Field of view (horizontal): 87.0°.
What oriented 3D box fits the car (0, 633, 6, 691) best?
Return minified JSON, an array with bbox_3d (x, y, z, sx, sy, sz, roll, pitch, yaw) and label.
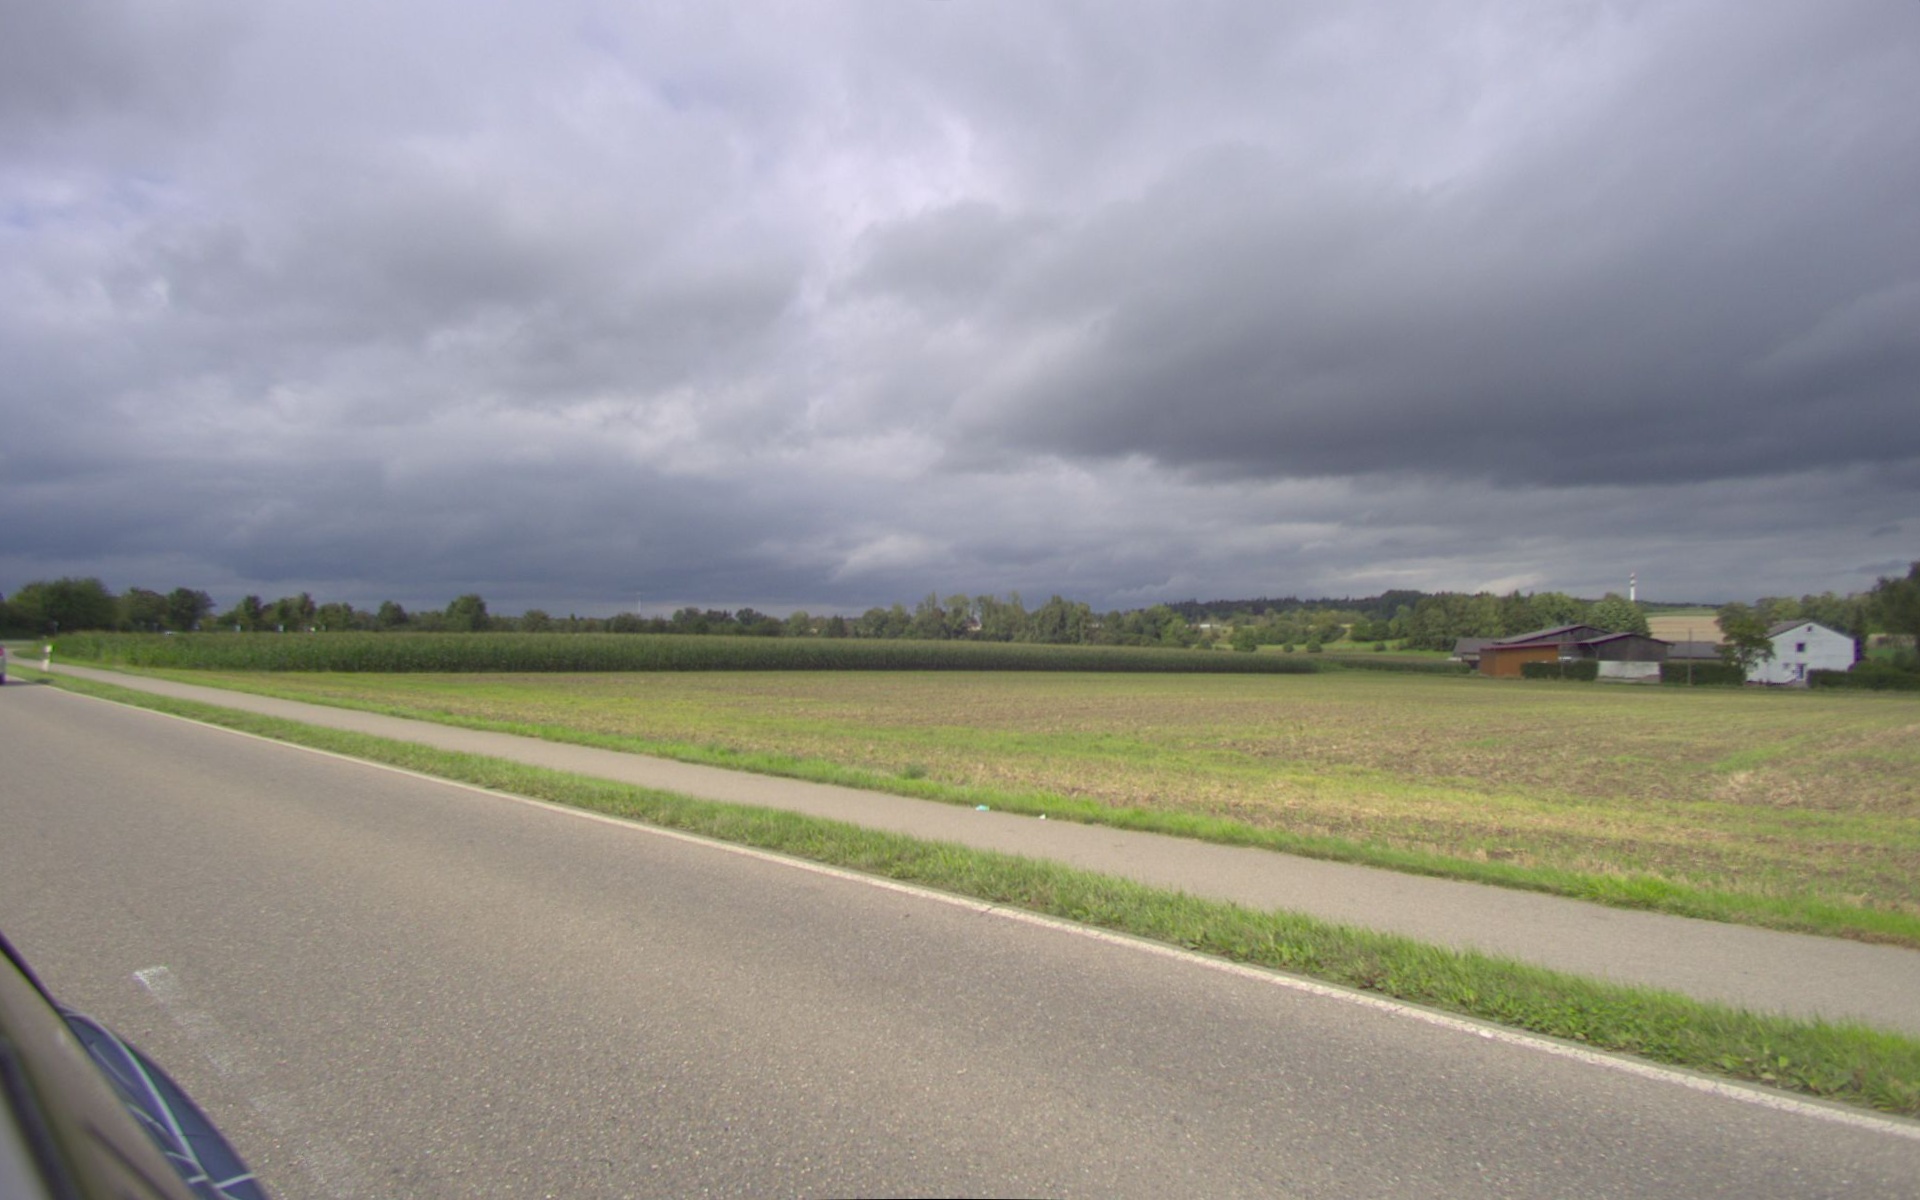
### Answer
[{"bbox_3d":[-26.545,1.605,26.672,3.541,1.470,1.677,-2,-3,41],"label":"car"}]
